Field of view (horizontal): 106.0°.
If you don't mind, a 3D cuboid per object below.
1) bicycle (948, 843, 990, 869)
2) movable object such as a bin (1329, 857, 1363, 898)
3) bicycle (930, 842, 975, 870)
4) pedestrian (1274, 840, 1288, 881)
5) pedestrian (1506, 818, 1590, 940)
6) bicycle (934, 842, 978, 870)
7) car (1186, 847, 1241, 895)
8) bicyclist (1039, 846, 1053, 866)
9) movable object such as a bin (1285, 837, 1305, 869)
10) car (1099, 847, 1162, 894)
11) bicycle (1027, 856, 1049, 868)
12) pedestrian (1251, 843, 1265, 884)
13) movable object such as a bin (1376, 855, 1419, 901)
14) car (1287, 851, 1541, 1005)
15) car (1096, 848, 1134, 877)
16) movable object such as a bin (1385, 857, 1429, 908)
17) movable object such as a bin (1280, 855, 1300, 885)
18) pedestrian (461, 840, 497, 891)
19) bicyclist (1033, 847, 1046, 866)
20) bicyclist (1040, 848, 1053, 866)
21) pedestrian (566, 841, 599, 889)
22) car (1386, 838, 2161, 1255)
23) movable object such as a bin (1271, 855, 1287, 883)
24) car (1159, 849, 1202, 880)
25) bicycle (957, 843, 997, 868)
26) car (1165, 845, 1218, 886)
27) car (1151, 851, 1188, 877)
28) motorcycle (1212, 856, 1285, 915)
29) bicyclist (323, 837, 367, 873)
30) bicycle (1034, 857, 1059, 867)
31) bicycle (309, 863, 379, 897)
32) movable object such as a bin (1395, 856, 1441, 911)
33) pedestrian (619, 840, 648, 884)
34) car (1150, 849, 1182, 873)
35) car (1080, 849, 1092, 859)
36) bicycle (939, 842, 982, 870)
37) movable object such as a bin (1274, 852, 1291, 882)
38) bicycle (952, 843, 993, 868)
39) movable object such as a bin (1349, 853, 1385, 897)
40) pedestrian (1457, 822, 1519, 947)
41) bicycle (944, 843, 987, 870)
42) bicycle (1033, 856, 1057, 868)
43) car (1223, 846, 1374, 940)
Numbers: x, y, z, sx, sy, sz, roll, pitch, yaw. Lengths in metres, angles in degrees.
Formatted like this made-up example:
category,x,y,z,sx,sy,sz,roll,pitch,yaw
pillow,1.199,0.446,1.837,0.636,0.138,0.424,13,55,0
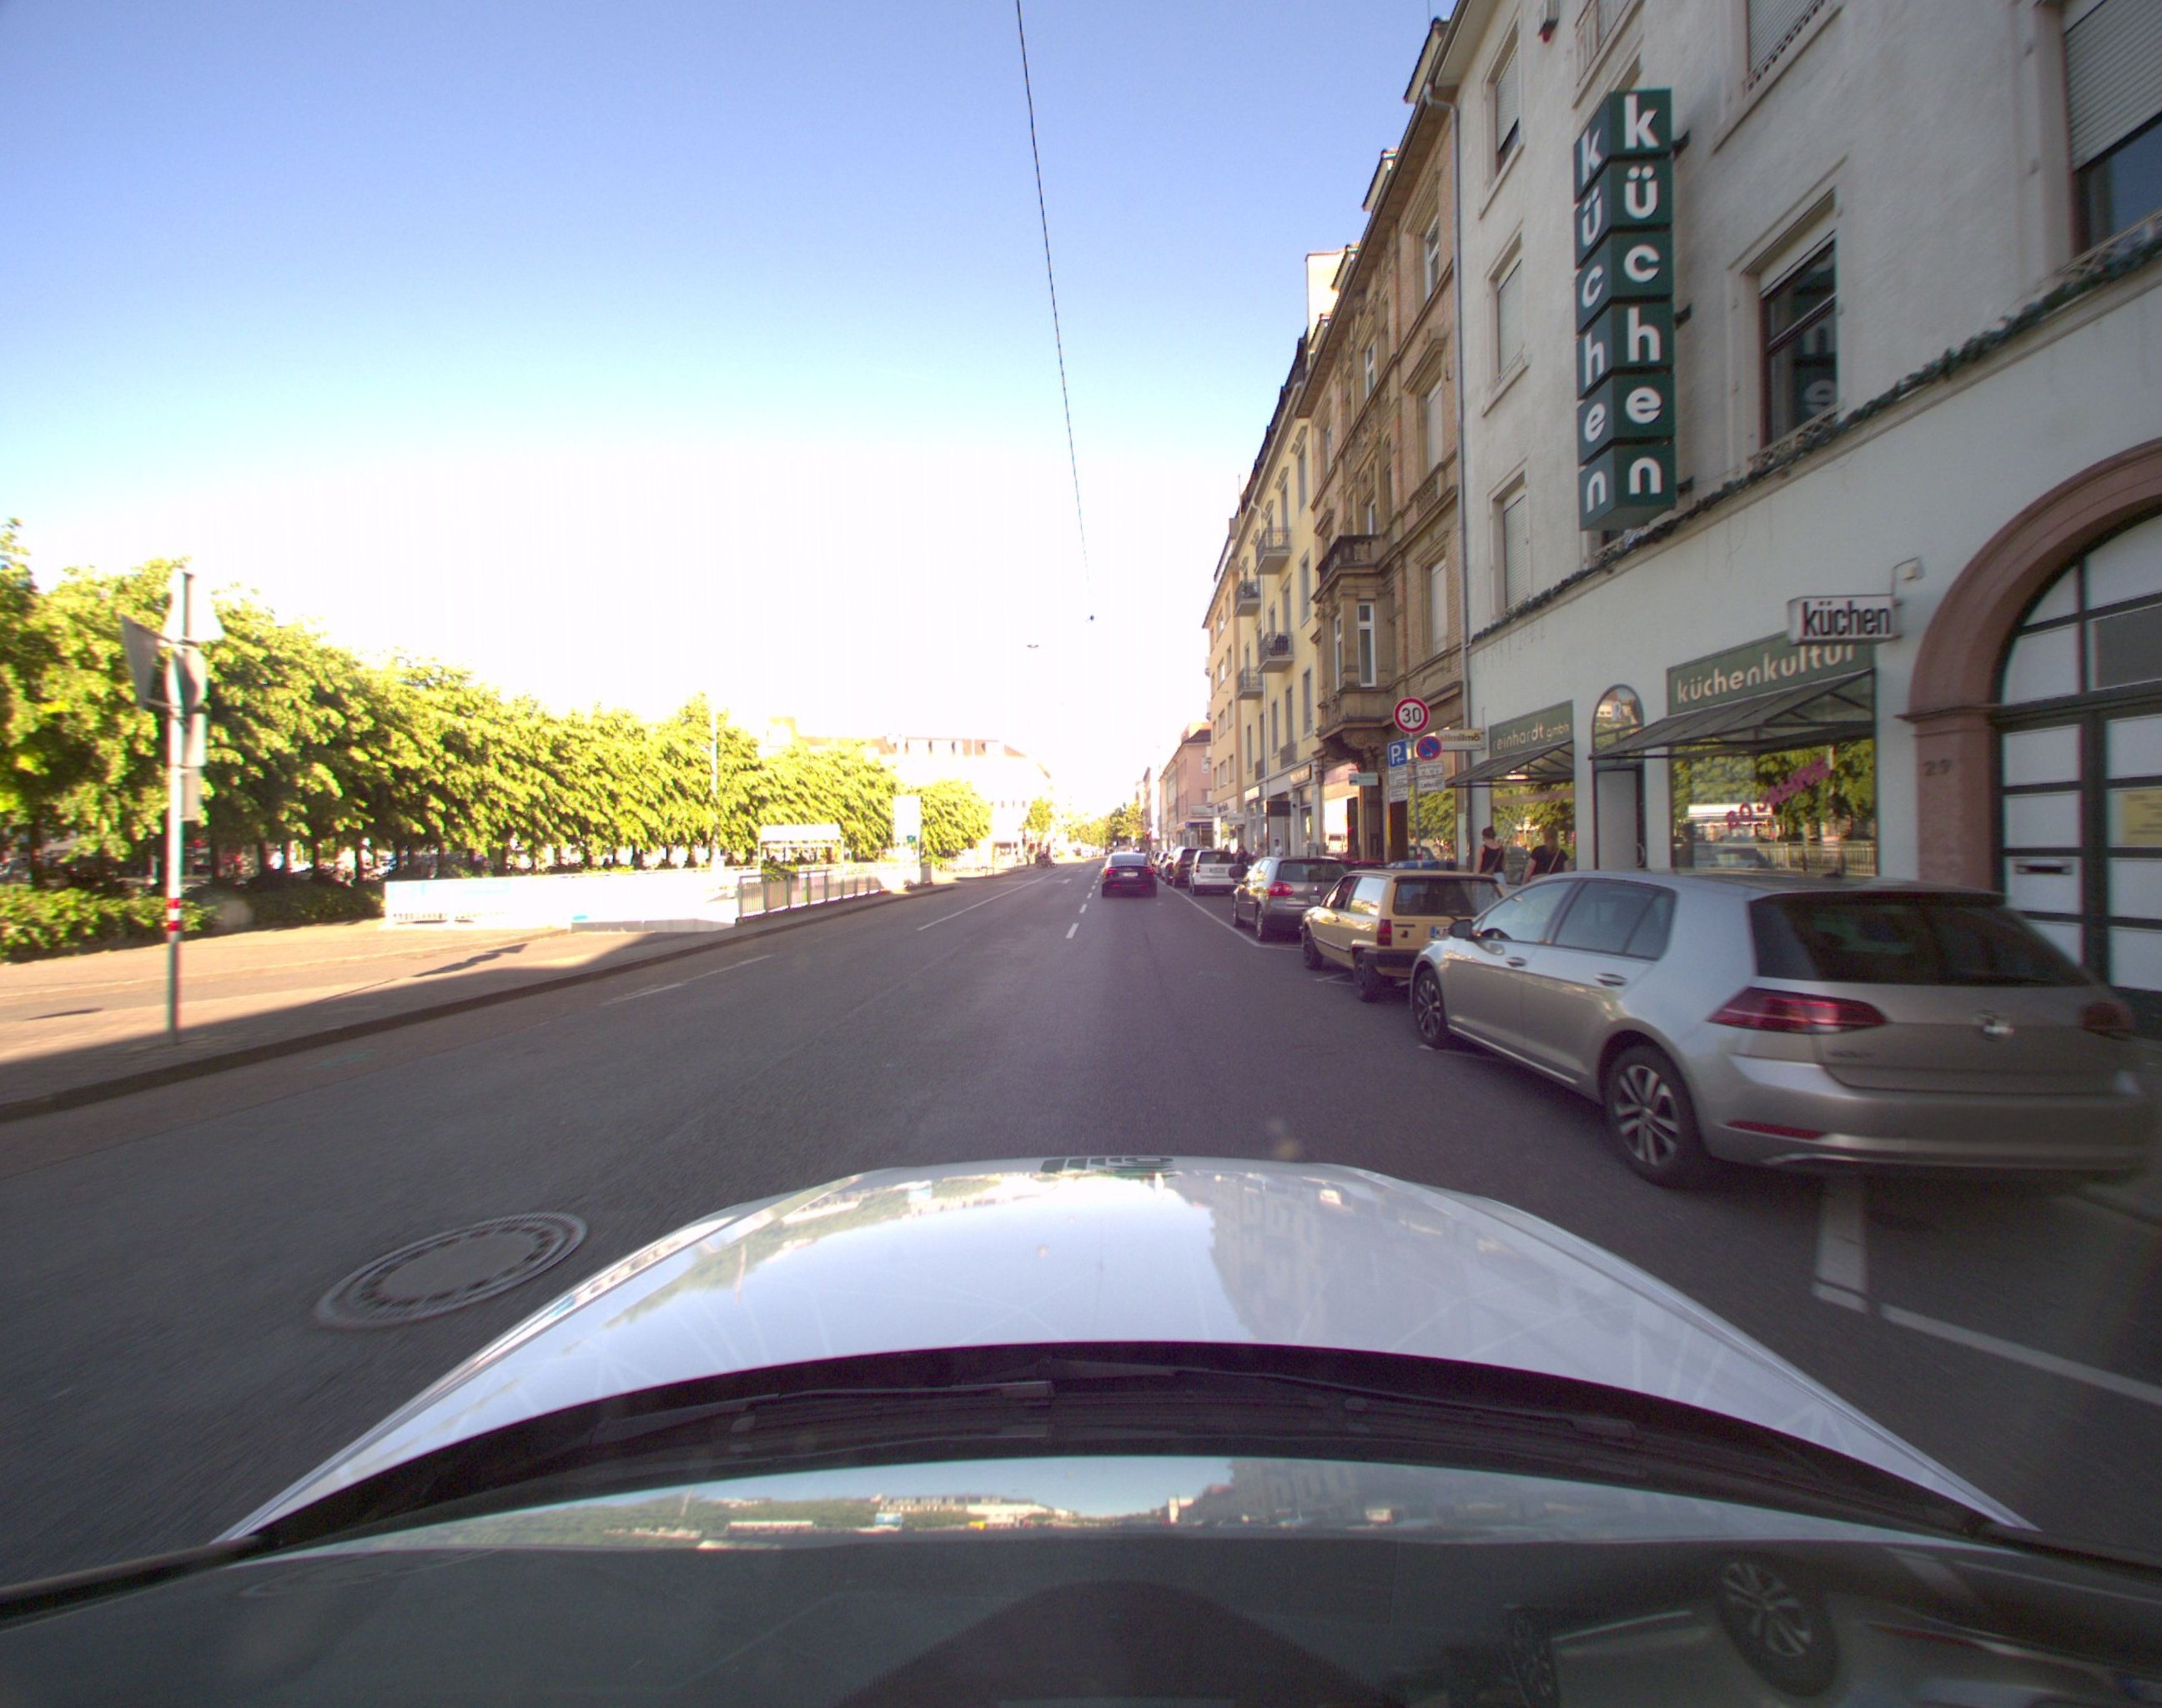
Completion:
category,x,y,z,sx,sy,sz,roll,pitch,yaw
bicycle,-8.830,0.163,64.322,3.101,2.013,0.912,-1,0,11
movable object such as a bin,7.223,0.636,22.235,0.641,1.076,0.820,-3,0,3
bicycle,-9.521,0.172,60.262,3.101,2.013,0.912,-1,0,11
pedestrian,8.136,0.249,33.149,0.468,1.635,0.514,-1,0,7
pedestrian,6.693,0.354,11.705,0.797,1.675,0.590,-3,0,4
bicycle,-9.367,0.156,61.214,3.101,2.013,0.912,-1,0,11
car,4.566,0.551,28.347,1.606,1.546,2.858,0,1,3
bicyclist,-3.062,0.202,70.996,1.143,1.686,0.918,-1,0,-2
movable object such as a bin,7.422,-0.039,28.237,0.477,1.052,0.632,-3,0,1
car,1.639,0.563,28.270,1.988,1.480,4.496,0,-1,1
bicycle,-3.865,0.745,73.526,2.006,1.022,0.762,-1,0,-2
pedestrian,7.131,0.385,32.844,0.467,1.635,0.516,-1,0,18
movable object such as a bin,7.178,0.537,18.478,0.721,1.000,0.593,-3,0,2
car,3.666,0.699,9.706,1.602,1.449,3.833,0,1,2
car,1.889,0.434,44.304,1.926,1.487,4.276,-1,0,4
movable object such as a bin,7.146,0.614,17.868,0.677,1.043,0.626,-3,0,2
movable object such as a bin,7.471,0.558,29.116,0.493,1.052,0.632,-3,0,1
pedestrian,-25.379,0.489,34.347,0.725,2.108,0.973,-1,0,24
bicyclist,-3.766,0.242,73.533,1.143,1.686,0.819,-1,0,-2
bicyclist,-3.211,0.256,75.979,1.140,1.686,0.916,-1,0,5
pedestrian,-22.183,0.489,36.254,0.725,2.108,0.973,-1,0,24
car,3.498,0.666,5.003,1.832,1.487,4.187,0,1,2
movable object such as a bin,7.511,0.565,30.857,0.454,1.052,0.500,-3,0,1
car,4.864,0.507,40.270,1.785,1.460,4.086,0,-1,2
bicycle,-8.474,0.124,66.394,3.101,2.013,0.912,-1,0,11
car,4.582,0.492,34.181,1.710,1.635,4.084,0,-1,0
car,5.113,0.596,47.347,1.786,1.460,3.869,0,-1,1
motorcycle,4.049,0.720,19.549,2.056,1.328,0.648,-1,0,-44
bicyclist,-35.177,0.051,38.945,0.962,1.700,1.210,-1,0,-3
bicycle,-3.199,0.775,75.970,2.233,0.883,0.925,-1,0,5
bicycle,-35.133,1.205,38.880,0.962,1.503,2.685,-1,0,-3
movable object such as a bin,7.078,0.608,17.127,0.677,1.096,0.626,-3,0,2
pedestrian,-21.520,0.369,39.176,0.725,2.108,0.973,-1,0,24
car,5.323,0.455,51.416,1.785,1.460,3.870,0,-1,2
car,0.913,0.060,149.525,1.985,1.771,4.004,0,1,3
bicycle,-9.186,0.153,62.202,3.101,2.013,0.912,-1,0,11
movable object such as a bin,7.490,0.480,30.319,0.477,1.052,0.468,-3,0,1
bicycle,-8.675,0.128,65.356,3.101,2.013,0.912,-1,0,11
movable object such as a bin,7.183,0.529,20.447,0.642,1.052,0.632,-3,0,1
pedestrian,5.884,0.431,11.802,0.617,1.766,0.519,-1,0,4
bicycle,-8.975,0.179,63.242,3.101,2.013,0.912,-1,0,11
bicycle,-3.138,0.663,71.016,2.006,1.022,0.887,-1,0,-2
car,3.928,0.614,15.441,1.832,1.546,4.230,0,1,1
